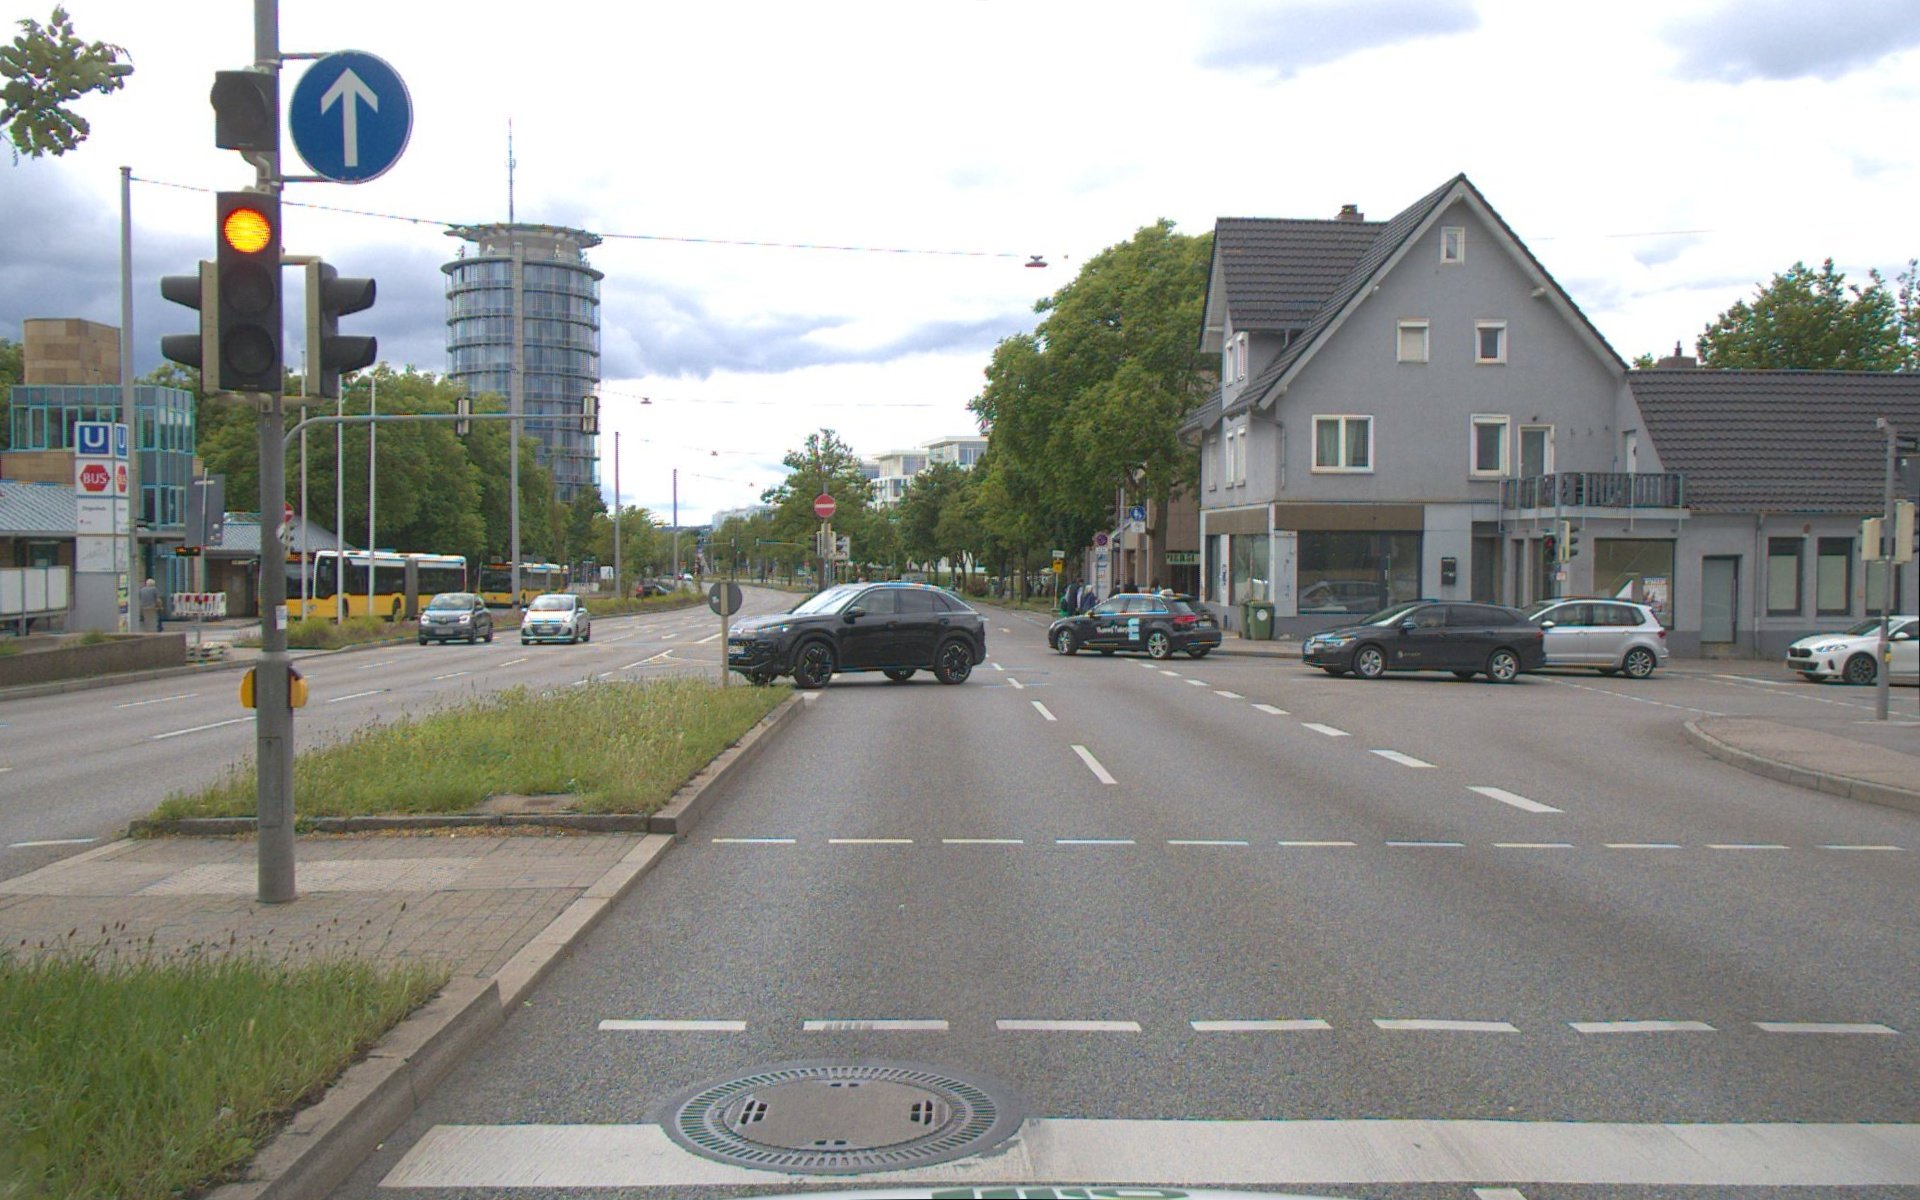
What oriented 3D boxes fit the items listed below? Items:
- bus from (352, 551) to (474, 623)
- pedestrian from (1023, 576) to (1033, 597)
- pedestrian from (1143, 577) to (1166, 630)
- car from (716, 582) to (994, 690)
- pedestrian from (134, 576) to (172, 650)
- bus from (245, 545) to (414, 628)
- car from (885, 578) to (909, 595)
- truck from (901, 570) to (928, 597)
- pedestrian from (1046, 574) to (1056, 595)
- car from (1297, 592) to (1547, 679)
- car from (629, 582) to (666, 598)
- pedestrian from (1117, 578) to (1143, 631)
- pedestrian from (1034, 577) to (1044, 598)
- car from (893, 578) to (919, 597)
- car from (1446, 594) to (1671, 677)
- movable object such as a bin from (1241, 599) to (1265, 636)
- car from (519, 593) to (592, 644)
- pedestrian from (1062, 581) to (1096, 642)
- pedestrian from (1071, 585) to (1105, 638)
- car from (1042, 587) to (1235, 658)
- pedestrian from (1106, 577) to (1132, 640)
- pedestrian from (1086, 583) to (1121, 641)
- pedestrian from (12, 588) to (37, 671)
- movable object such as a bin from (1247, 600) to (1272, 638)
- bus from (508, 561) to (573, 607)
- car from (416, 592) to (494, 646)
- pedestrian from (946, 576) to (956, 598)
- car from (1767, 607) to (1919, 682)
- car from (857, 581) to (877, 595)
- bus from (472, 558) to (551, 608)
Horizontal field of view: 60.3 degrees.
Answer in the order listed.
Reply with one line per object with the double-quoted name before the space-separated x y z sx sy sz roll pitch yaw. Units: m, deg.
"bus" -26.550 -0.619 80.715 2.927 3.327 7.879 -1 0 3
"pedestrian" 5.108 -1.000 124.659 0.638 1.597 0.669 0 0 -9
"pedestrian" 6.216 0.109 52.850 0.690 1.691 0.871 0 0 9
"car" -1.598 0.492 25.769 4.027 1.547 1.817 -1 1 -37
"pedestrian" -21.260 0.343 43.598 0.647 1.930 0.685 0 0 -1
"bus" -27.087 -0.566 71.691 2.927 3.307 10.174 -1 0 3
"car" -6.609 -1.401 173.779 2.207 1.676 4.927 0 0 -6
"truck" -4.316 -1.542 155.966 2.207 2.459 4.927 0 0 -5
"pedestrian" 6.843 -1.181 124.636 0.638 1.597 0.669 0 0 -9
"car" 8.643 0.655 31.112 4.193 1.506 1.712 1 1 -8
"car" -31.090 -0.960 164.548 3.482 1.518 1.706 -1 0 -6
"pedestrian" 5.444 0.145 52.988 0.690 1.691 0.871 0 0 13
"pedestrian" 5.982 -0.919 124.707 0.638 1.597 0.669 0 0 -9
"car" -5.408 -1.254 165.001 2.207 1.787 4.927 0 0 -5
"car" 12.456 0.716 34.567 4.019 1.567 1.827 2 0 -3
"movable object such as a bin" 7.964 0.462 44.951 0.518 0.997 0.736 0 0 -1
"car" -12.368 0.545 50.724 1.651 1.488 3.552 0 0 -5
"pedestrian" 3.540 0.342 49.258 0.851 1.811 0.706 0 0 -10
"pedestrian" 3.751 0.330 48.514 0.851 1.533 0.706 0 0 -10
"car" 4.028 0.485 37.638 4.022 1.521 1.886 0 0 40
"pedestrian" 4.566 0.231 47.529 0.690 1.791 1.053 0 0 4
"pedestrian" 4.513 0.368 52.107 0.864 1.811 0.696 0 0 -45
"pedestrian" -18.511 0.575 32.735 0.414 1.619 0.353 0 0 -30
"movable object such as a bin" 7.994 0.492 44.161 0.518 0.997 0.736 0 0 -1
"bus" -31.152 -1.141 123.008 3.081 3.281 7.762 0 0 -2
"car" -15.477 0.560 50.812 1.652 1.606 3.344 0 0 -6
"pedestrian" -1.014 -1.442 181.379 0.914 2.349 1.008 1 -1 -10
"car" 19.803 0.939 35.356 4.156 1.503 1.999 1 0 -2
"car" -9.727 -1.272 173.021 1.929 1.444 4.017 0 0 -6
"bus" -30.790 -1.125 114.009 3.082 3.281 10.279 0 0 -3
